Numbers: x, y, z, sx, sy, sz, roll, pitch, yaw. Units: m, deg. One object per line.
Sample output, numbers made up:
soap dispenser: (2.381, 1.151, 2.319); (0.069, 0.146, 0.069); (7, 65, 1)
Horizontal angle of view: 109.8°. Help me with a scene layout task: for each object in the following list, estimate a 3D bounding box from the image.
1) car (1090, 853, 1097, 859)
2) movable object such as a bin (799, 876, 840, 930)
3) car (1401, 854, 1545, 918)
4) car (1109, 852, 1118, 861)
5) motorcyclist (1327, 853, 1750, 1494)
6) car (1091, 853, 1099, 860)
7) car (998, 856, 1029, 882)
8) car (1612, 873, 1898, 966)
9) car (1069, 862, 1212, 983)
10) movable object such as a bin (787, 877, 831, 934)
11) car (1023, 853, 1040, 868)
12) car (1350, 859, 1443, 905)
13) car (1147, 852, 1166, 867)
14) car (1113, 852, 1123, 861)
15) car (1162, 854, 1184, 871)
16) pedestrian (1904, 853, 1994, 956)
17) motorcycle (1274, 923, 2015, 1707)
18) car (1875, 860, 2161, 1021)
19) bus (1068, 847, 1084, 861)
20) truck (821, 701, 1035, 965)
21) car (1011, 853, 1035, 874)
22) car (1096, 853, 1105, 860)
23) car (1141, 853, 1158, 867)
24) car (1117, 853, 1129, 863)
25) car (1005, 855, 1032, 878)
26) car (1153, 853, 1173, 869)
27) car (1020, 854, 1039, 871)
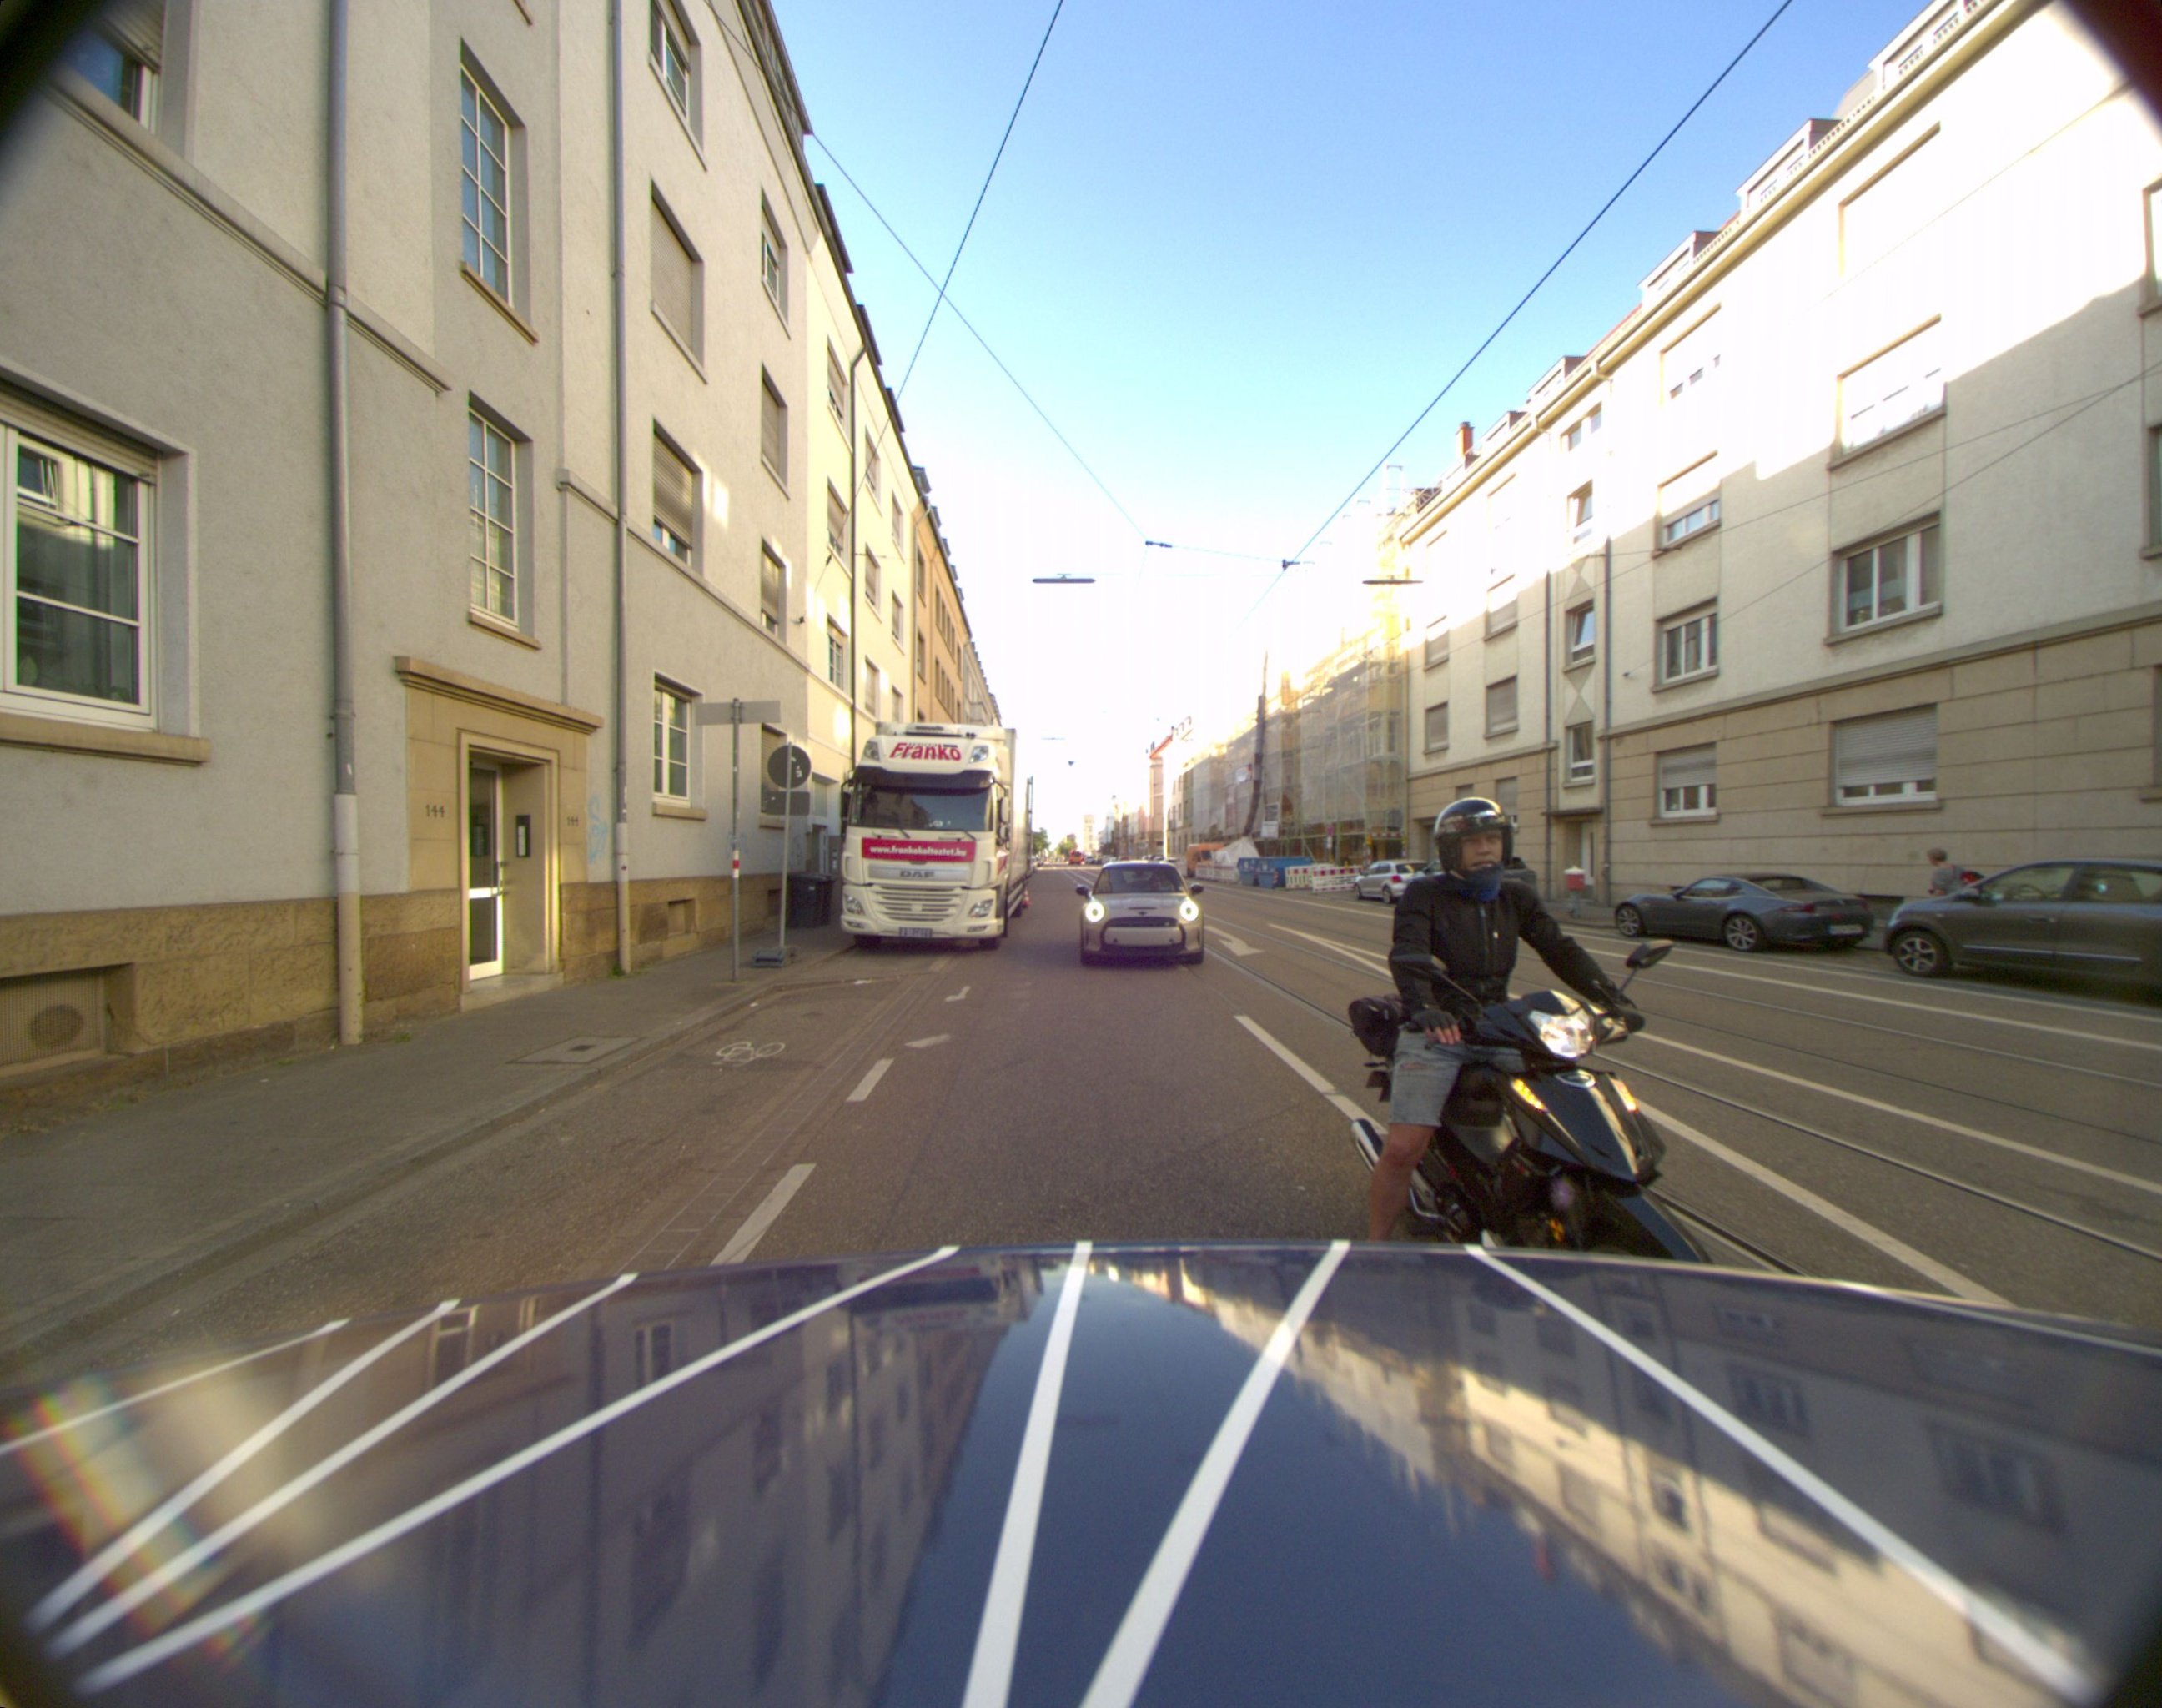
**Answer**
car: (3.305, 0.599, 206.891); (1.684, 1.478, 3.965); (-2, 0, -1)
movable object such as a bin: (-5.398, 1.003, 15.710); (0.666, 1.087, 0.570); (0, 1, -2)
car: (10.813, 0.808, 21.332); (1.696, 1.590, 4.206); (-1, 0, -3)
car: (5.955, 0.451, 139.345); (1.684, 1.478, 3.966); (-2, 0, 1)
motorcyclist: (1.311, 0.820, 2.391); (0.791, 1.645, 0.900); (0, 1, 1)
car: (3.531, 0.618, 191.747); (1.684, 1.478, 3.965); (-2, 0, -1)
car: (-4.175, 0.902, 47.188); (1.685, 1.522, 4.148); (-2, 0, -3)
car: (11.182, 1.002, 12.982); (1.520, 1.227, 3.685); (-1, 0, -3)
car: (0.729, 0.892, 11.822); (1.685, 1.454, 4.148); (-2, 0, -3)
movable object such as a bin: (-5.381, 1.011, 15.041); (0.666, 1.087, 0.570); (0, 1, -2)
car: (-5.351, 0.656, 82.745); (1.685, 1.522, 4.148); (-2, 0, -3)
car: (10.611, 0.884, 25.780); (1.543, 1.404, 3.510); (-1, 0, -3)
car: (8.244, 0.621, 83.184); (1.684, 1.573, 3.966); (-2, 0, 1)
car: (6.528, 0.472, 134.402); (1.684, 1.478, 3.966); (-2, 0, 1)
car: (8.572, 0.765, 71.114); (1.684, 1.478, 3.966); (-2, 0, 1)
pedestrian: (13.273, 0.754, 11.638); (0.570, 1.532, 0.693); (0, 1, -2)
motorcycle: (1.311, 0.976, 2.521); (0.791, 1.284, 2.273); (0, 0, 1)
car: (11.419, 0.862, 8.321); (1.679, 1.519, 3.539); (-1, 0, -3)
bus: (-1.314, 0.048, 182.222); (2.755, 3.095, 19.156); (0, 0, -3)
truck: (-2.624, -0.317, 17.181); (2.782, 3.903, 11.816); (0, 0, -2)
car: (-4.510, 0.752, 59.159); (1.685, 1.522, 4.148); (-2, 0, -3)
car: (4.254, 0.626, 167.813); (1.684, 1.478, 3.965); (-2, 0, -1)
car: (7.933, 0.659, 87.881); (1.684, 1.478, 3.966); (-2, 0, 1)
car: (6.597, 0.630, 118.636); (1.684, 1.478, 3.966); (-2, 0, 1)
car: (-4.302, 0.835, 52.990); (1.685, 1.522, 4.148); (-2, 0, -3)
car: (8.266, 0.710, 76.811); (1.684, 1.478, 3.966); (-2, 0, 1)
car: (-4.856, 0.755, 72.099); (1.685, 1.522, 4.148); (-2, 0, -3)
